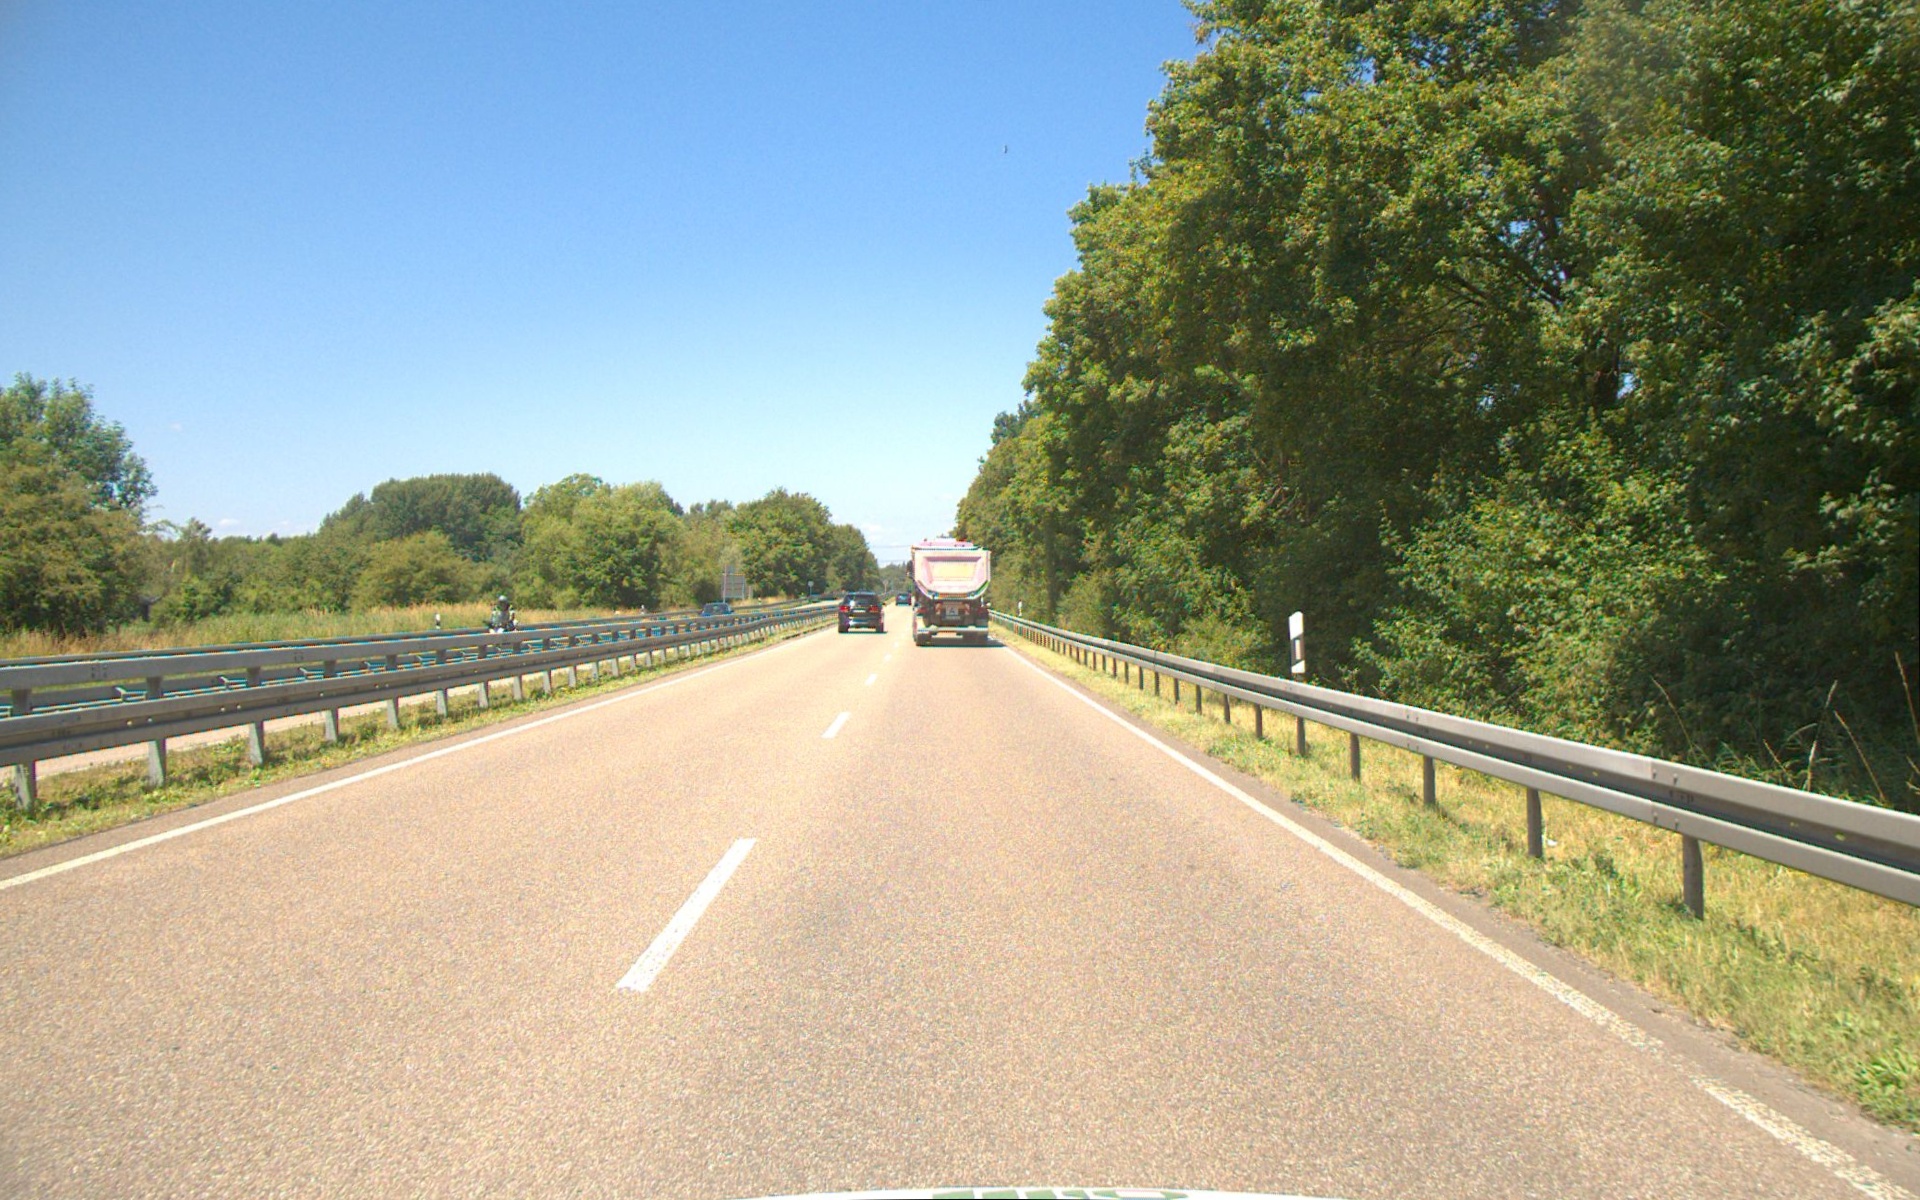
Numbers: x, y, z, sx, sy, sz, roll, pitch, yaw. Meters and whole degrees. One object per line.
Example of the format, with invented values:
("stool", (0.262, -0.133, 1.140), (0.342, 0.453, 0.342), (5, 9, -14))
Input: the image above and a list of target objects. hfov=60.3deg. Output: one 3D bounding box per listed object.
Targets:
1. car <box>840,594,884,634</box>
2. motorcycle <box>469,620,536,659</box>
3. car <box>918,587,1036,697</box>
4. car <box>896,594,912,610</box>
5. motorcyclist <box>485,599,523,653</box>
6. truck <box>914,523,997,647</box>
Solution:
("car", (-4.274, 0.637, 72.781), (1.820, 1.701, 3.998), (0, -1, -2))
("motorcycle", (-14.227, 1.218, 51.583), (1.042, 1.083, 3.817), (-2, 0, -1))
("car", (0.218, 0.693, 27.834), (1.820, 1.701, 3.998), (0, -1, -2))
("car", (-6.314, 0.252, 186.186), (1.820, 1.748, 3.998), (0, -1, -2))
("motorcyclist", (-14.188, 0.798, 51.501), (0.926, 1.645, 0.809), (-2, 0, -2))
("truck", (-0.317, -0.549, 59.558), (2.665, 3.999, 12.366), (0, 1, -2))
